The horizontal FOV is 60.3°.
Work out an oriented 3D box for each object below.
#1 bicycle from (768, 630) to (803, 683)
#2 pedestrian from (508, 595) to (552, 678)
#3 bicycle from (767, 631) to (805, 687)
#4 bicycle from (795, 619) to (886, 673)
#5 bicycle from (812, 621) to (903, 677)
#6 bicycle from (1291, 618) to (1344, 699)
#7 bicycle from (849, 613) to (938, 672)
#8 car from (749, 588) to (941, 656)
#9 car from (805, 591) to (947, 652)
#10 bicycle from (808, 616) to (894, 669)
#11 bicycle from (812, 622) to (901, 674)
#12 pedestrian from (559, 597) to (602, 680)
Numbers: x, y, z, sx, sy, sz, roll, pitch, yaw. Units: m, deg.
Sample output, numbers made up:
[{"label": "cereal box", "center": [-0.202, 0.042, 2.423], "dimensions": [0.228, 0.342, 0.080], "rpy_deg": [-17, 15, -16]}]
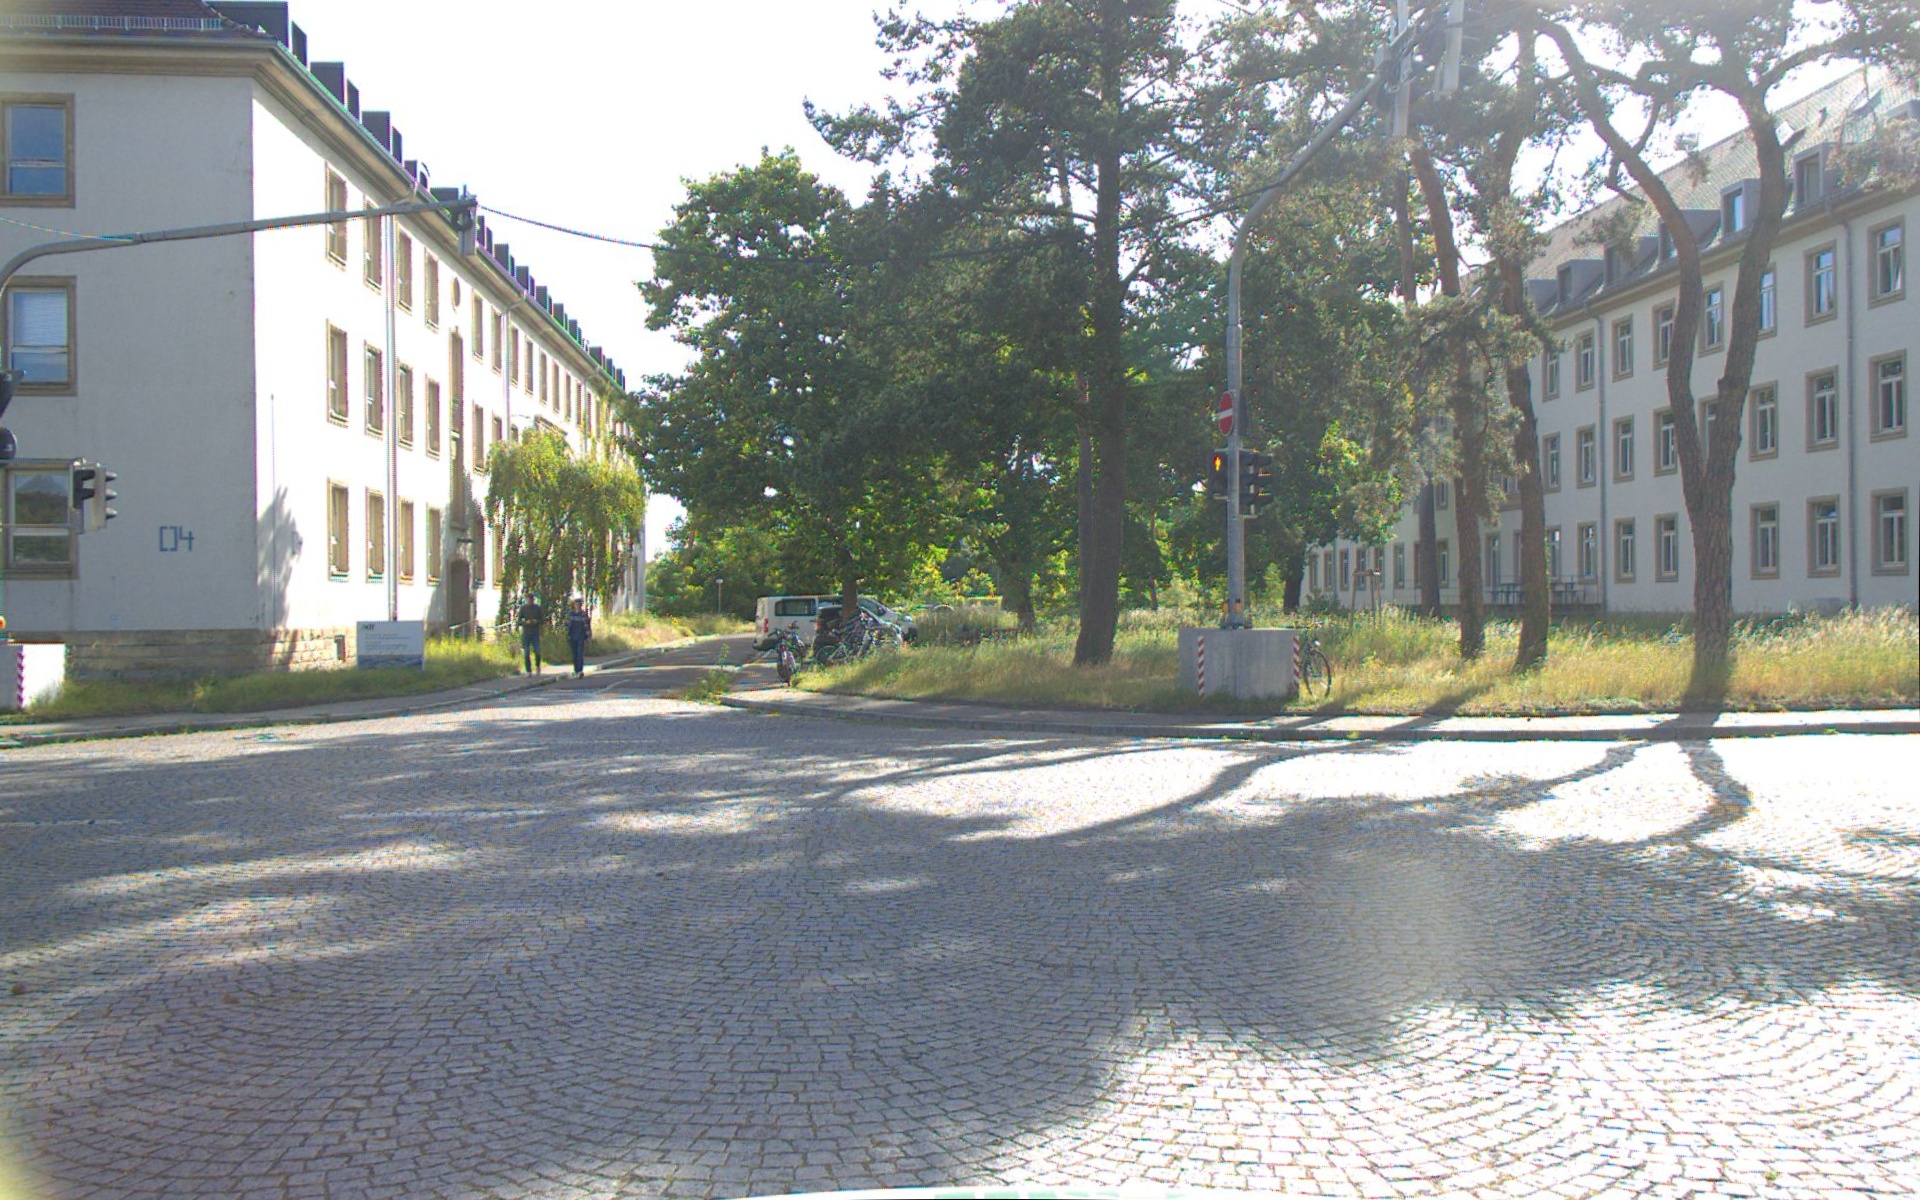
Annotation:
[{"label": "bicycle", "center": [-3.479, 1.111, 32.974], "dimensions": [0.682, 0.988, 1.858], "rpy_deg": [0, 0, -6]}, {"label": "pedestrian", "center": [-9.680, 0.815, 37.244], "dimensions": [0.794, 1.849, 0.555], "rpy_deg": [-1, 0, 6]}, {"label": "bicycle", "center": [-3.272, 1.095, 31.049], "dimensions": [0.682, 0.988, 1.858], "rpy_deg": [0, 0, -6]}, {"label": "bicycle", "center": [-2.641, 1.004, 36.604], "dimensions": [1.921, 1.149, 0.641], "rpy_deg": [0, 0, -32]}, {"label": "bicycle", "center": [-2.200, 1.043, 35.426], "dimensions": [1.904, 1.149, 0.749], "rpy_deg": [0, 0, -8]}, {"label": "bicycle", "center": [4.974, 0.801, 23.054], "dimensions": [0.456, 1.099, 1.173], "rpy_deg": [-1, -1, -1]}, {"label": "bicycle", "center": [-1.460, 0.925, 36.186], "dimensions": [1.904, 1.257, 0.484], "rpy_deg": [0, 0, -8]}, {"label": "car", "center": [-3.701, 0.692, 52.636], "dimensions": [5.825, 2.049, 2.468], "rpy_deg": [0, 0, -12]}, {"label": "car", "center": [-2.467, 0.606, 48.391], "dimensions": [3.917, 1.713, 1.841], "rpy_deg": [0, 0, -13]}, {"label": "bicycle", "center": [-2.494, 0.962, 37.718], "dimensions": [1.905, 1.149, 0.646], "rpy_deg": [0, 0, -10]}, {"label": "bicycle", "center": [-2.169, 0.995, 34.628], "dimensions": [1.819, 1.049, 0.749], "rpy_deg": [0, 0, -8]}, {"label": "pedestrian", "center": [-8.542, 0.852, 37.241], "dimensions": [0.751, 1.849, 0.683], "rpy_deg": [-1, 0, 6]}]
